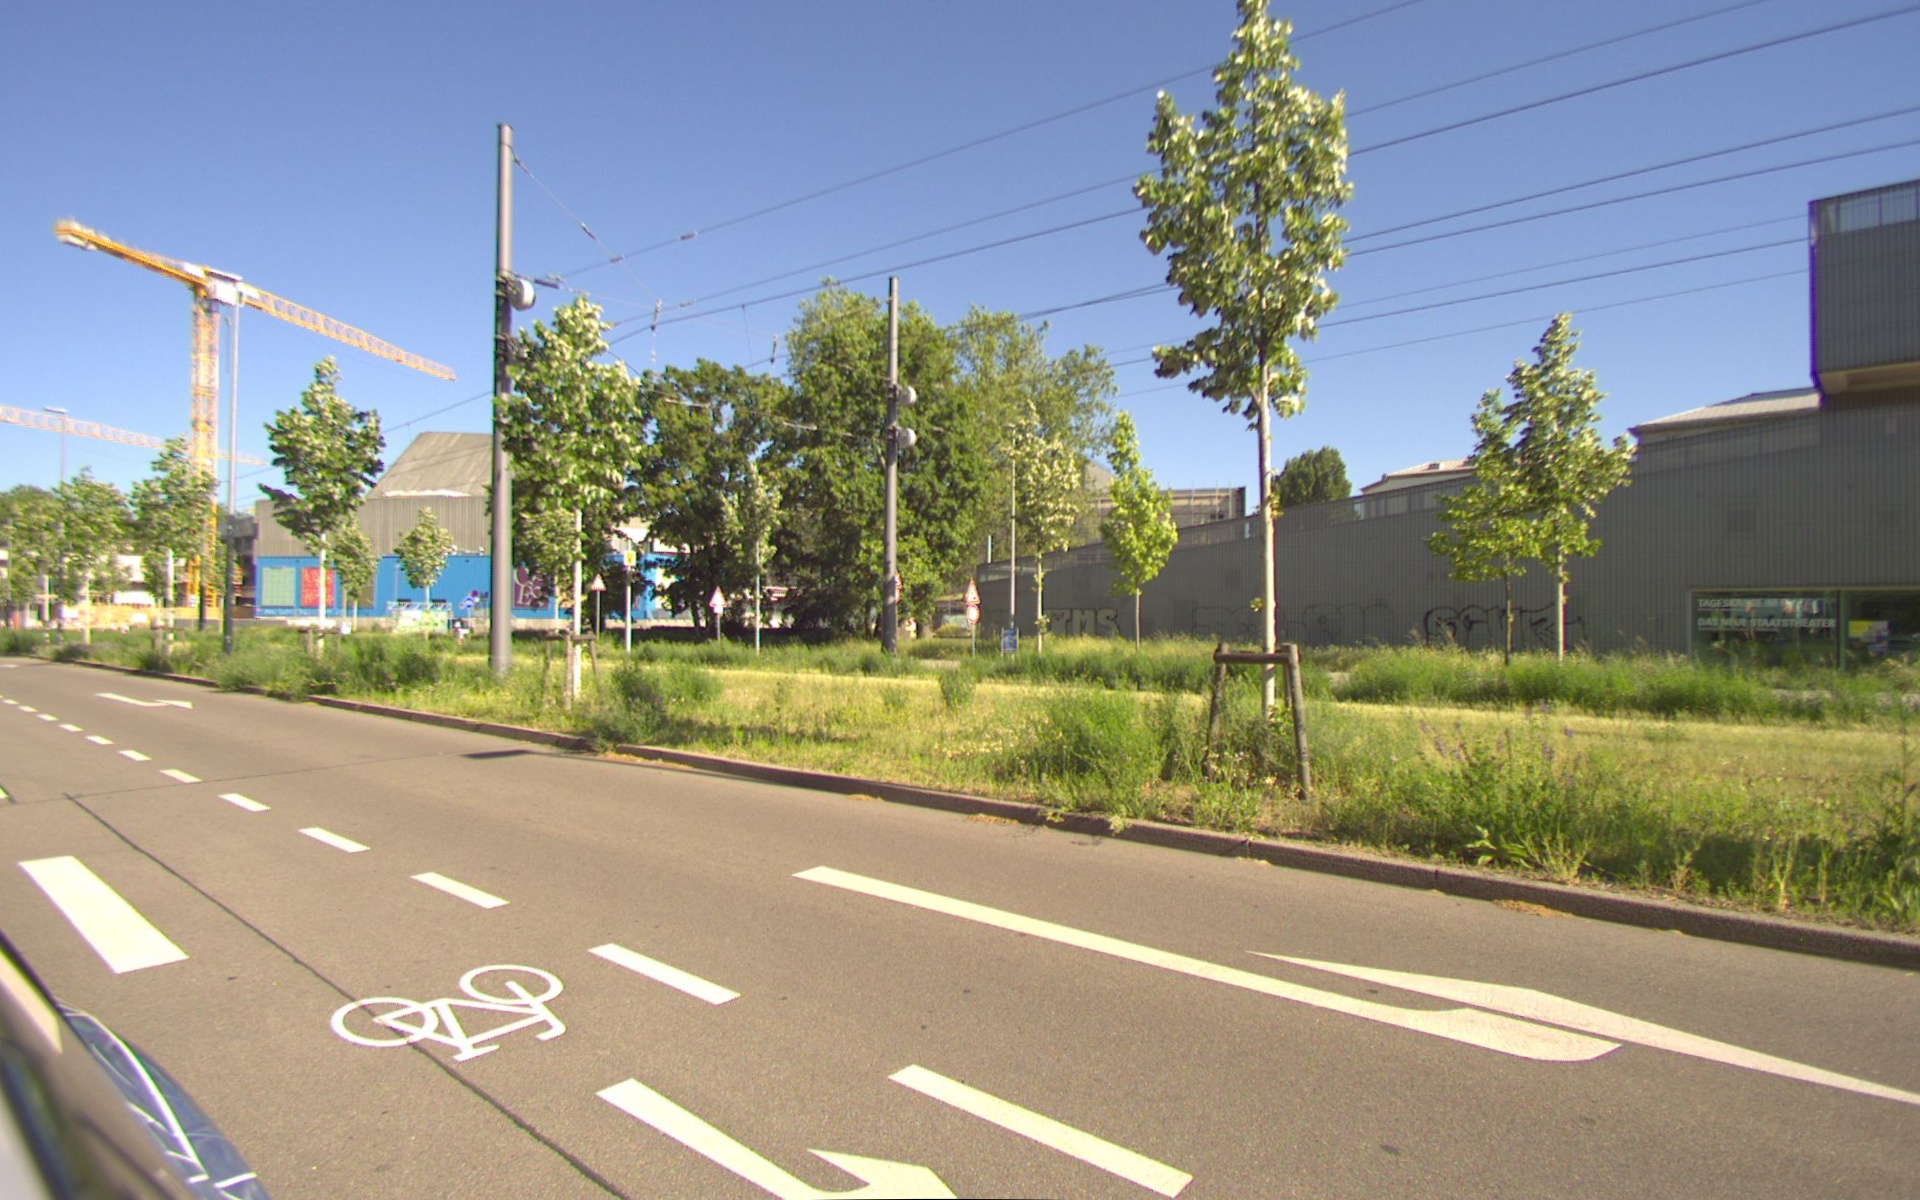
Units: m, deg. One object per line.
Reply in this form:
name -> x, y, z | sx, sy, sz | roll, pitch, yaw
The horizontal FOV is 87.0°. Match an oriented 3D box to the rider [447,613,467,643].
rider -> -25.986, 1.424, 52.303 | 0.631, 1.534, 0.715 | -1, -2, 38
